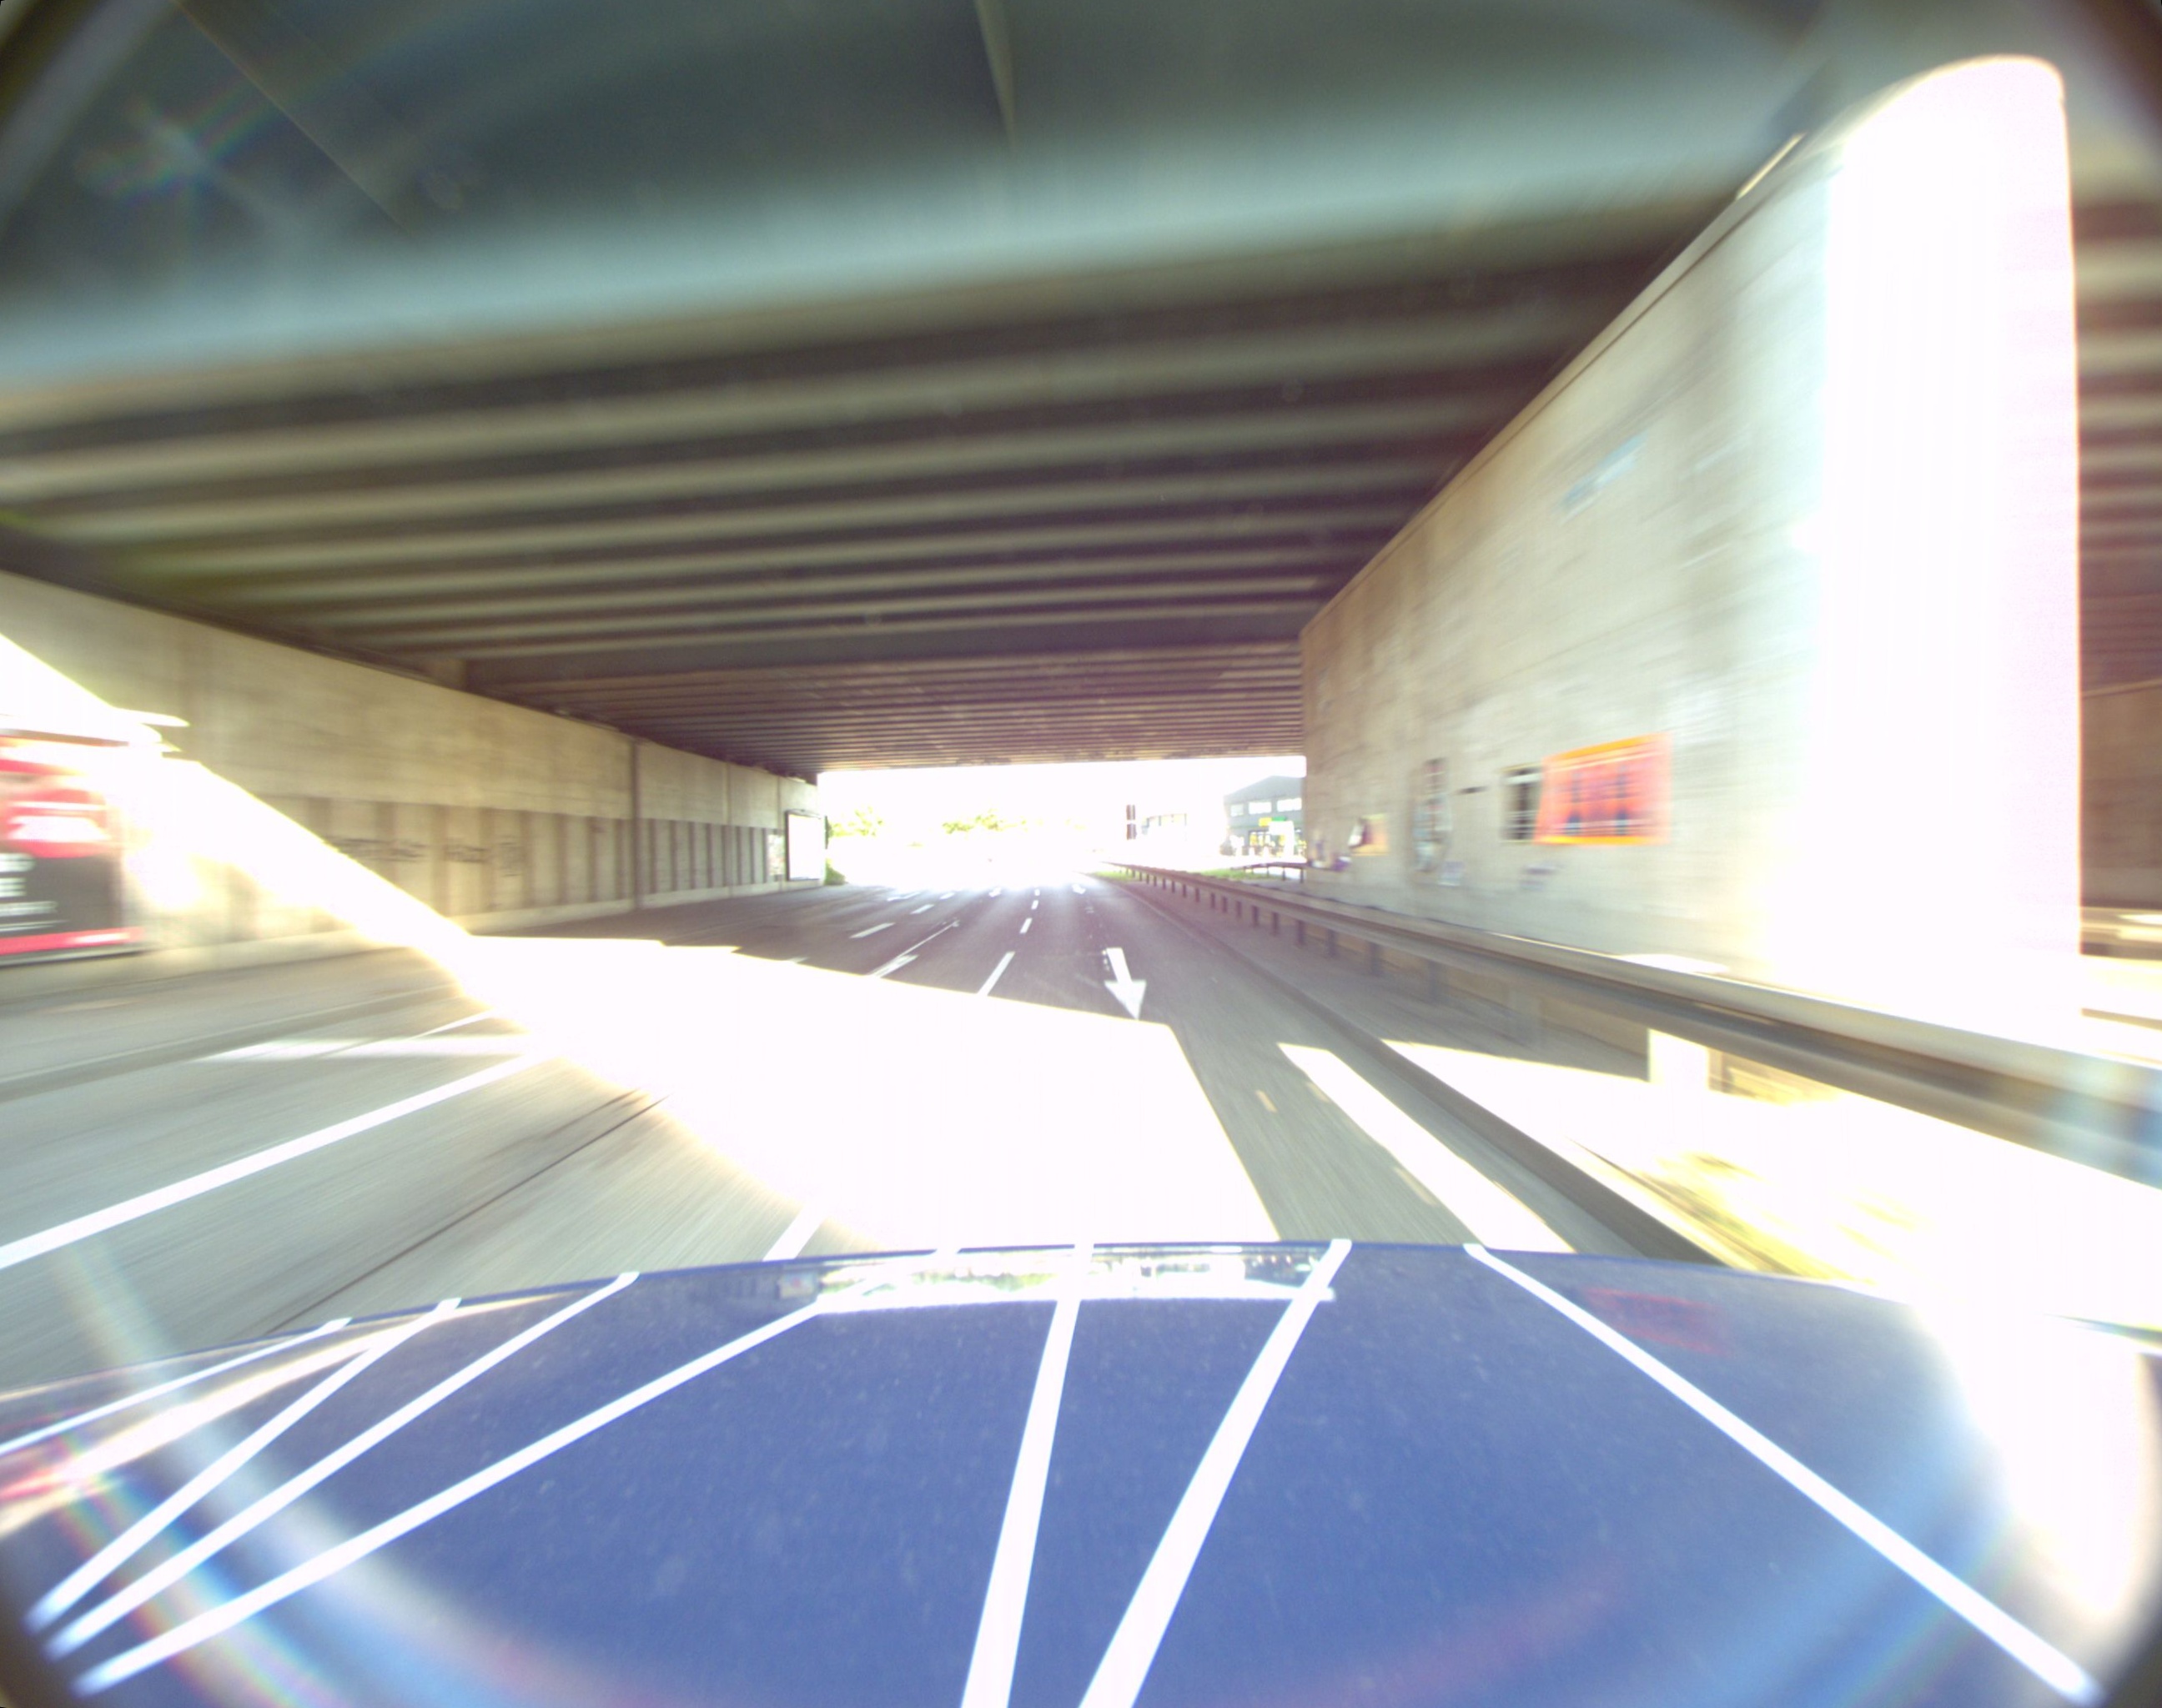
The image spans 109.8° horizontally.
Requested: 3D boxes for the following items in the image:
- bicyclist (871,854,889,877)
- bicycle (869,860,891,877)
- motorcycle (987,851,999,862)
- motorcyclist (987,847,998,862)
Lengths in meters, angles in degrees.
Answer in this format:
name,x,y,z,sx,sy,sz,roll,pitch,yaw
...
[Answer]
name,x,y,z,sx,sy,sz,roll,pitch,yaw
bicyclist,-12.851,0.704,48.642,0.844,1.413,1.111,-4,2,-27
bicycle,-12.917,0.904,48.841,0.784,1.051,2.491,-4,2,-27
motorcycle,-8.582,0.224,73.891,0.811,1.040,2.353,-3,1,1
motorcyclist,-8.606,0.031,73.768,0.839,1.434,0.878,-3,2,1
